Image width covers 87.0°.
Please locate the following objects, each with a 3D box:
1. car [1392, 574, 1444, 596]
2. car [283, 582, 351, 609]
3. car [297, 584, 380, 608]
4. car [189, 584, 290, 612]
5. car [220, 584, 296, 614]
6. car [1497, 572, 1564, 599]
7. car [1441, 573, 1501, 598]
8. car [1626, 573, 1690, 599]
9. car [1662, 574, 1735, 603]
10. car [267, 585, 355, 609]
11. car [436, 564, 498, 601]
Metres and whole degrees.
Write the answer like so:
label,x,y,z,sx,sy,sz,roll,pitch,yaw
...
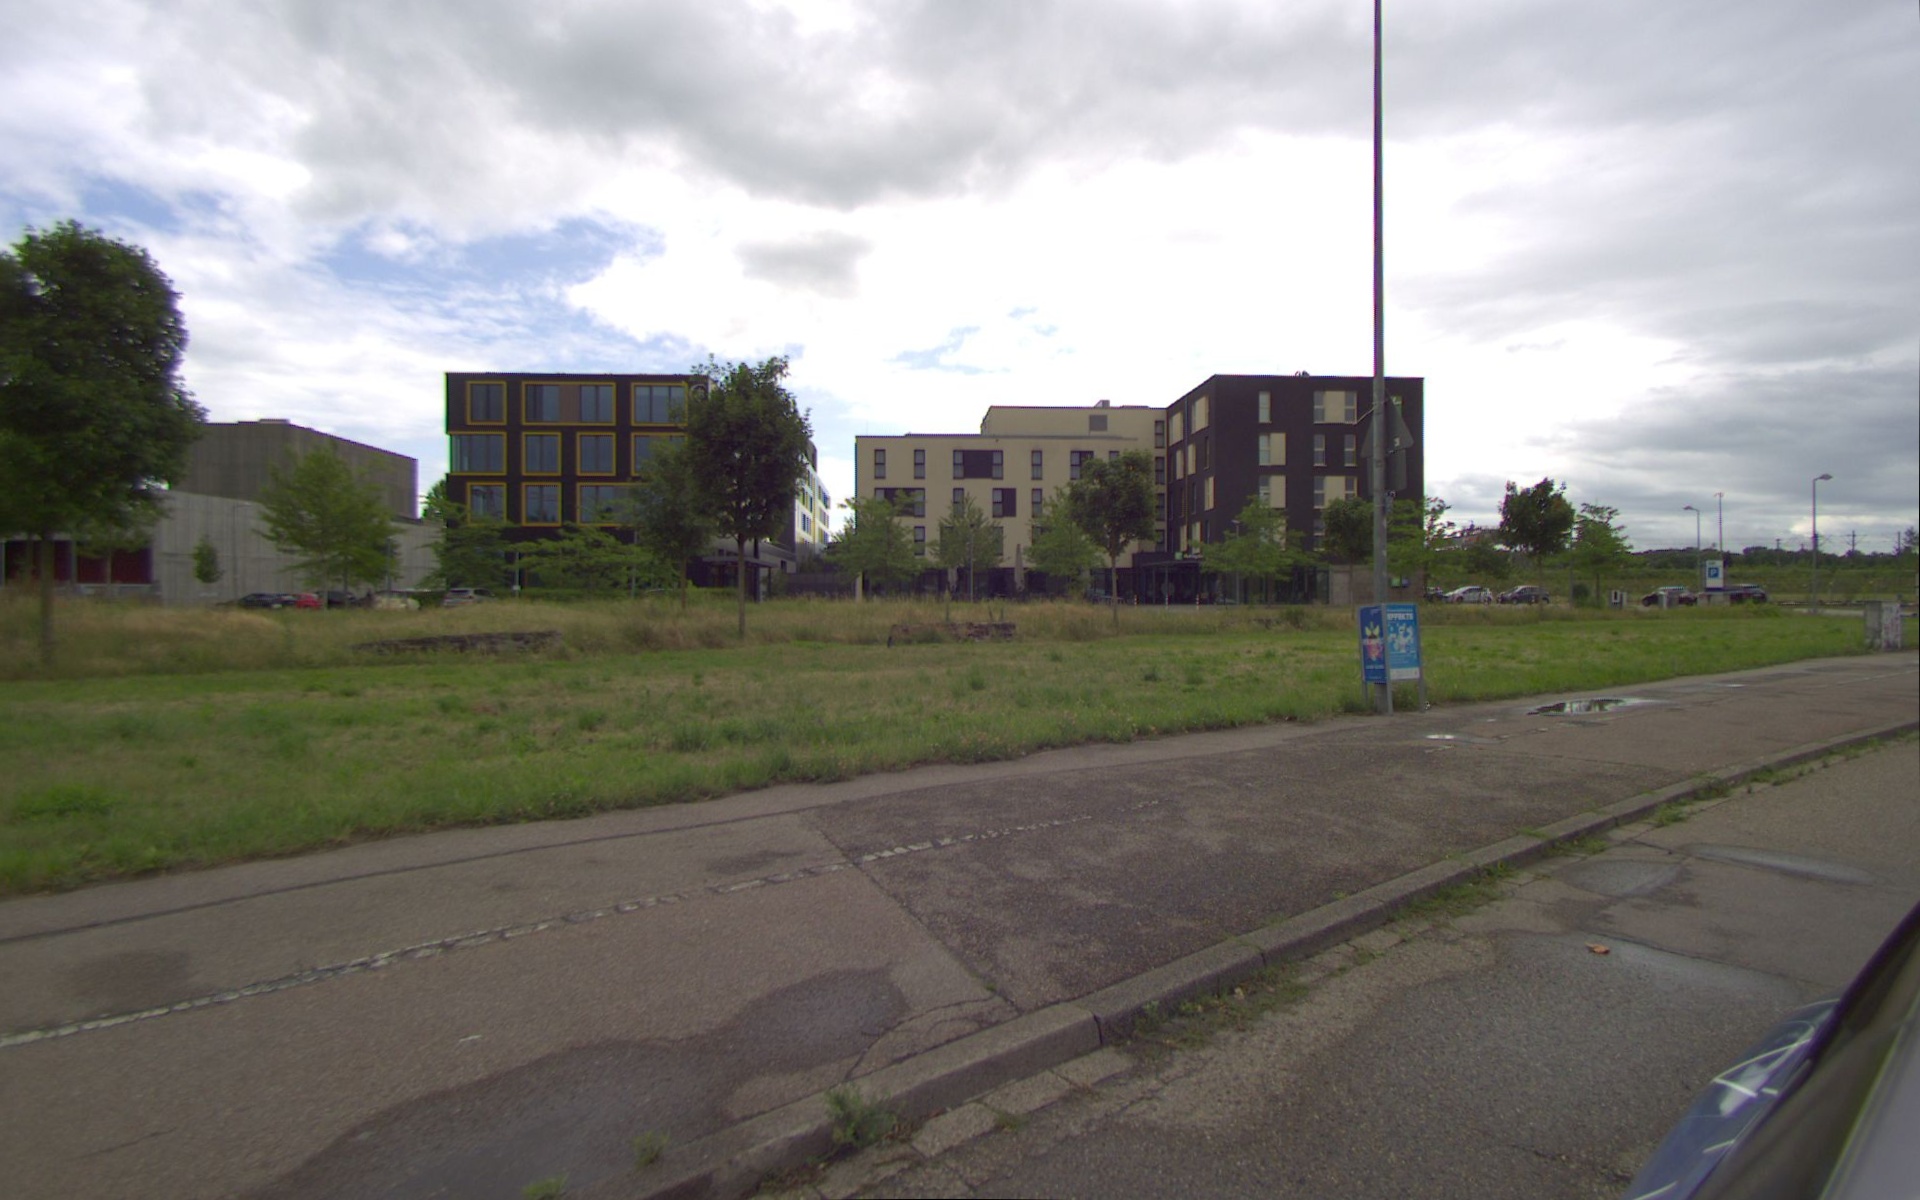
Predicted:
label,x,y,z,sx,sy,sz,roll,pitch,yaw
car,42.033,-1.358,92.919,3.921,2.039,2.002,0,1,-4
car,-49.307,-0.344,77.692,3.918,2.039,2.003,0,0,-8
car,-36.073,-0.252,58.774,3.925,1.349,1.563,0,1,1
car,-35.766,-0.105,50.295,3.925,1.349,1.563,0,1,1
car,-49.016,-0.085,70.730,3.918,2.039,2.003,0,0,-8
car,42.984,-1.094,76.278,3.920,2.039,2.002,0,1,-4
car,42.228,-1.185,83.737,3.920,2.039,2.002,0,1,-4
car,56.384,-1.144,81.819,3.918,2.039,2.003,0,1,-8
car,54.049,-0.841,74.093,3.920,2.039,2.002,0,1,-4
car,-36.067,-0.168,56.301,3.925,1.349,1.563,0,1,1
car,-28.294,-1.015,58.171,1.960,2.039,4.005,0,1,-6
